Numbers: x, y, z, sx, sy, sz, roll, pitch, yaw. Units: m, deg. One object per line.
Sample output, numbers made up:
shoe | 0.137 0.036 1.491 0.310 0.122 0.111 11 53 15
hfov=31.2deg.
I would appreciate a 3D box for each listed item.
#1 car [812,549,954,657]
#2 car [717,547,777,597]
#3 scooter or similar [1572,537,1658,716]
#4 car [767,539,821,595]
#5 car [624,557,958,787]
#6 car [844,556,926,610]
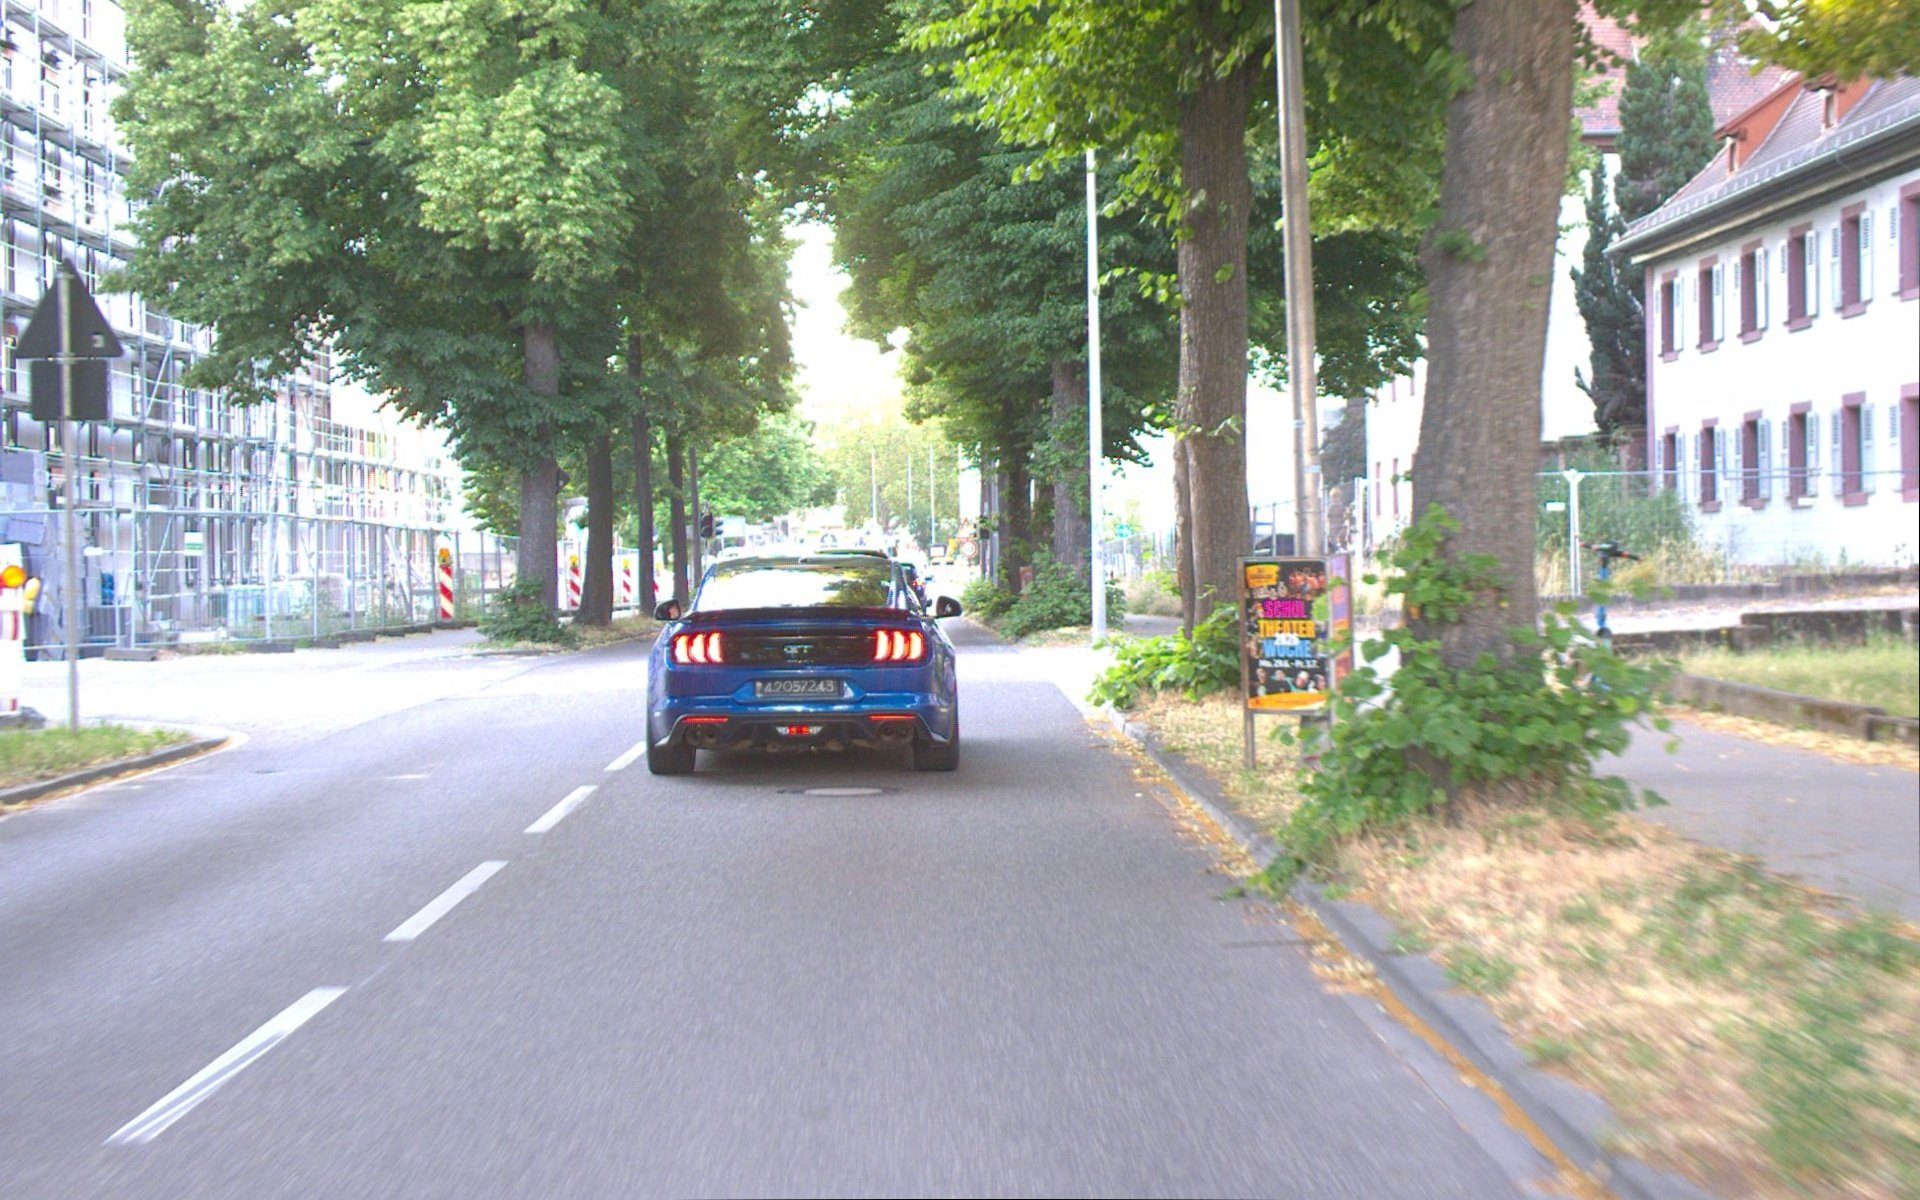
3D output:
car | -1.111 0.017 51.345 1.947 1.522 4.000 1 1 1
car | -9.732 -1.309 157.432 2.336 2.190 5.309 -1 1 1
scooter or similar | 4.788 0.188 25.179 0.239 1.271 1.267 -1 0 -6
car | -8.152 -1.626 169.251 2.492 2.687 5.831 -1 1 -1
car | -1.028 0.397 22.235 1.947 1.322 4.000 1 1 -1
car | -1.912 -0.450 88.759 1.947 1.322 4.000 1 1 1
